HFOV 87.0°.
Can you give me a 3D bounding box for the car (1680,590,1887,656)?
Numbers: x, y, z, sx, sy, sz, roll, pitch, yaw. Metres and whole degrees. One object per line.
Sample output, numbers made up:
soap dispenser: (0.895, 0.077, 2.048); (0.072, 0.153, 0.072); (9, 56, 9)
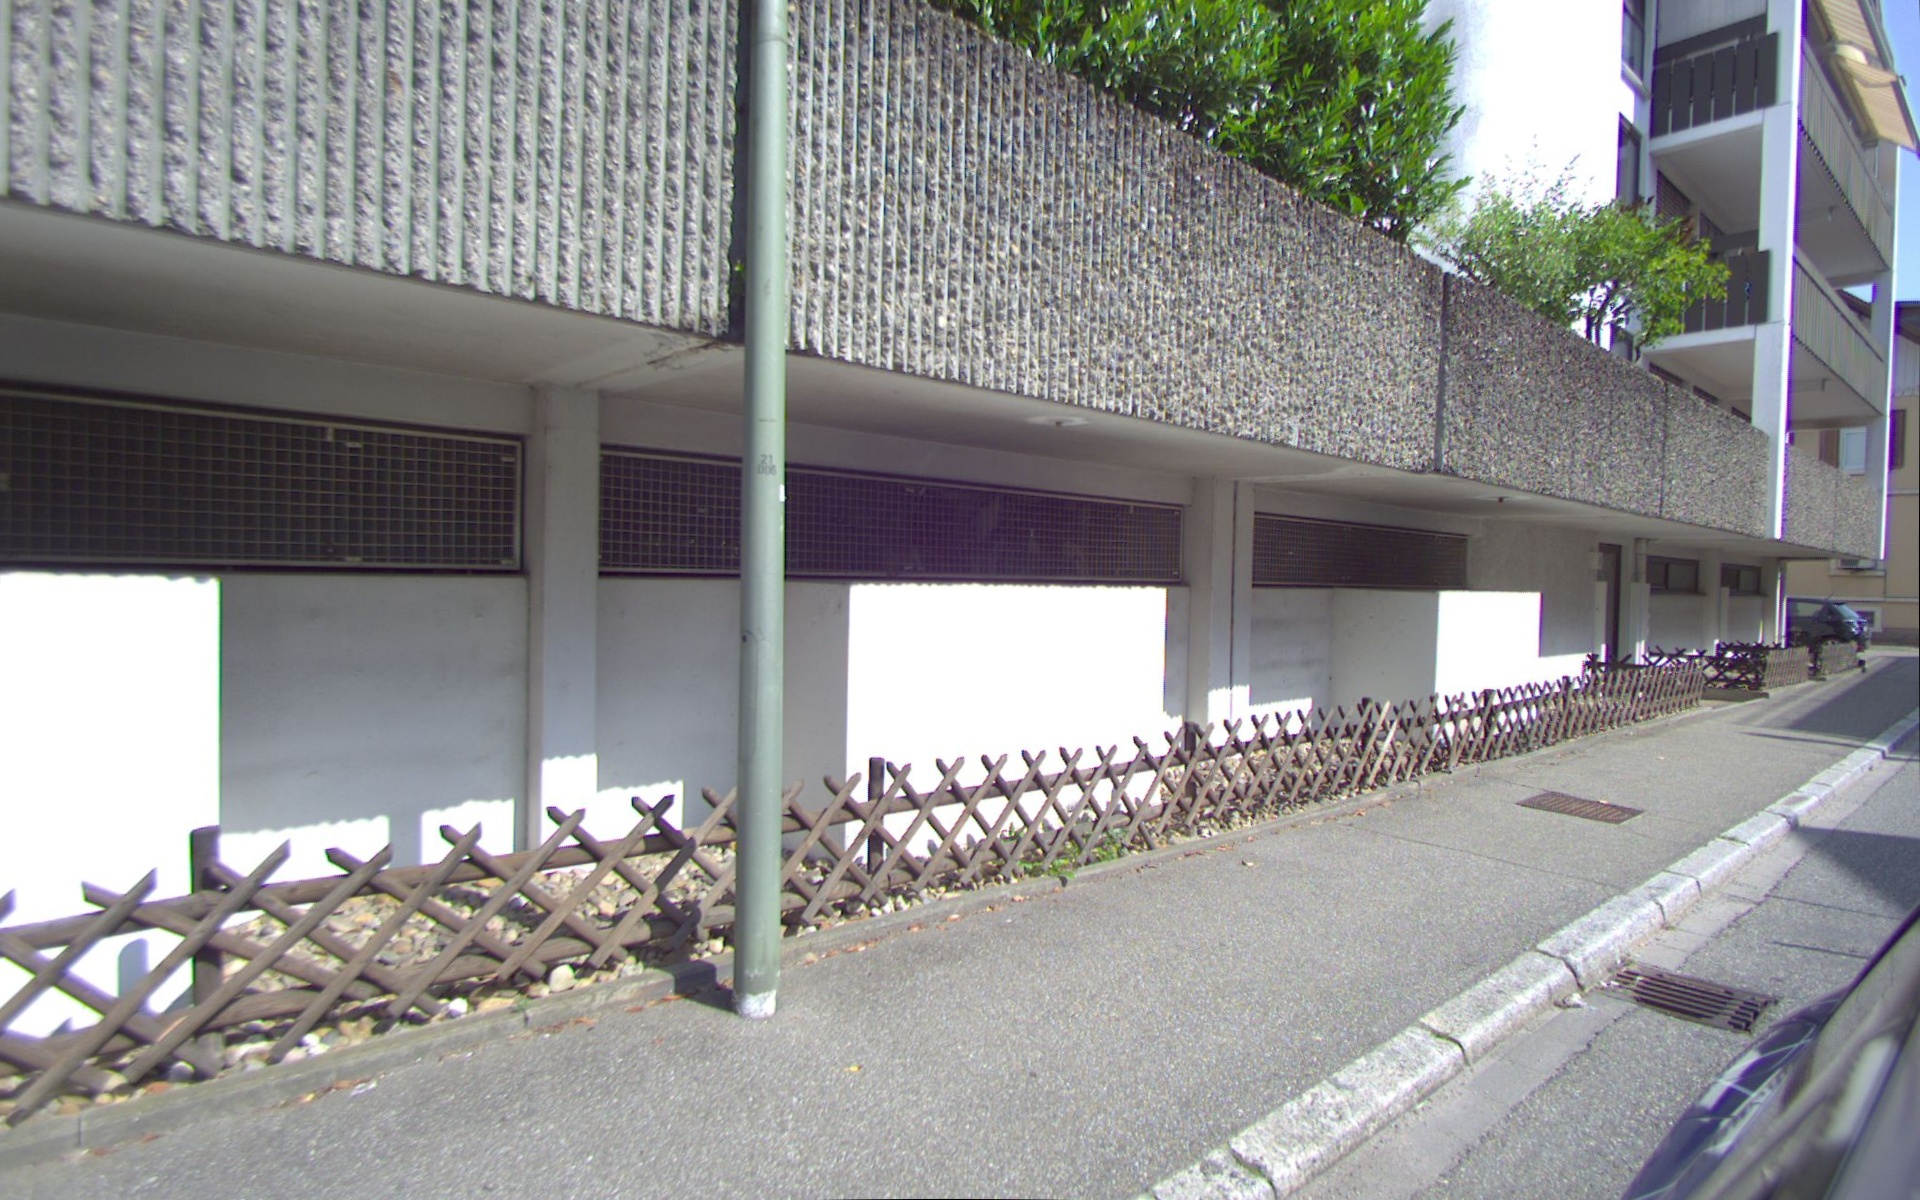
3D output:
car: (20.427, 0.521, 25.204); (1.671, 1.498, 3.831); (1, 0, -43)
